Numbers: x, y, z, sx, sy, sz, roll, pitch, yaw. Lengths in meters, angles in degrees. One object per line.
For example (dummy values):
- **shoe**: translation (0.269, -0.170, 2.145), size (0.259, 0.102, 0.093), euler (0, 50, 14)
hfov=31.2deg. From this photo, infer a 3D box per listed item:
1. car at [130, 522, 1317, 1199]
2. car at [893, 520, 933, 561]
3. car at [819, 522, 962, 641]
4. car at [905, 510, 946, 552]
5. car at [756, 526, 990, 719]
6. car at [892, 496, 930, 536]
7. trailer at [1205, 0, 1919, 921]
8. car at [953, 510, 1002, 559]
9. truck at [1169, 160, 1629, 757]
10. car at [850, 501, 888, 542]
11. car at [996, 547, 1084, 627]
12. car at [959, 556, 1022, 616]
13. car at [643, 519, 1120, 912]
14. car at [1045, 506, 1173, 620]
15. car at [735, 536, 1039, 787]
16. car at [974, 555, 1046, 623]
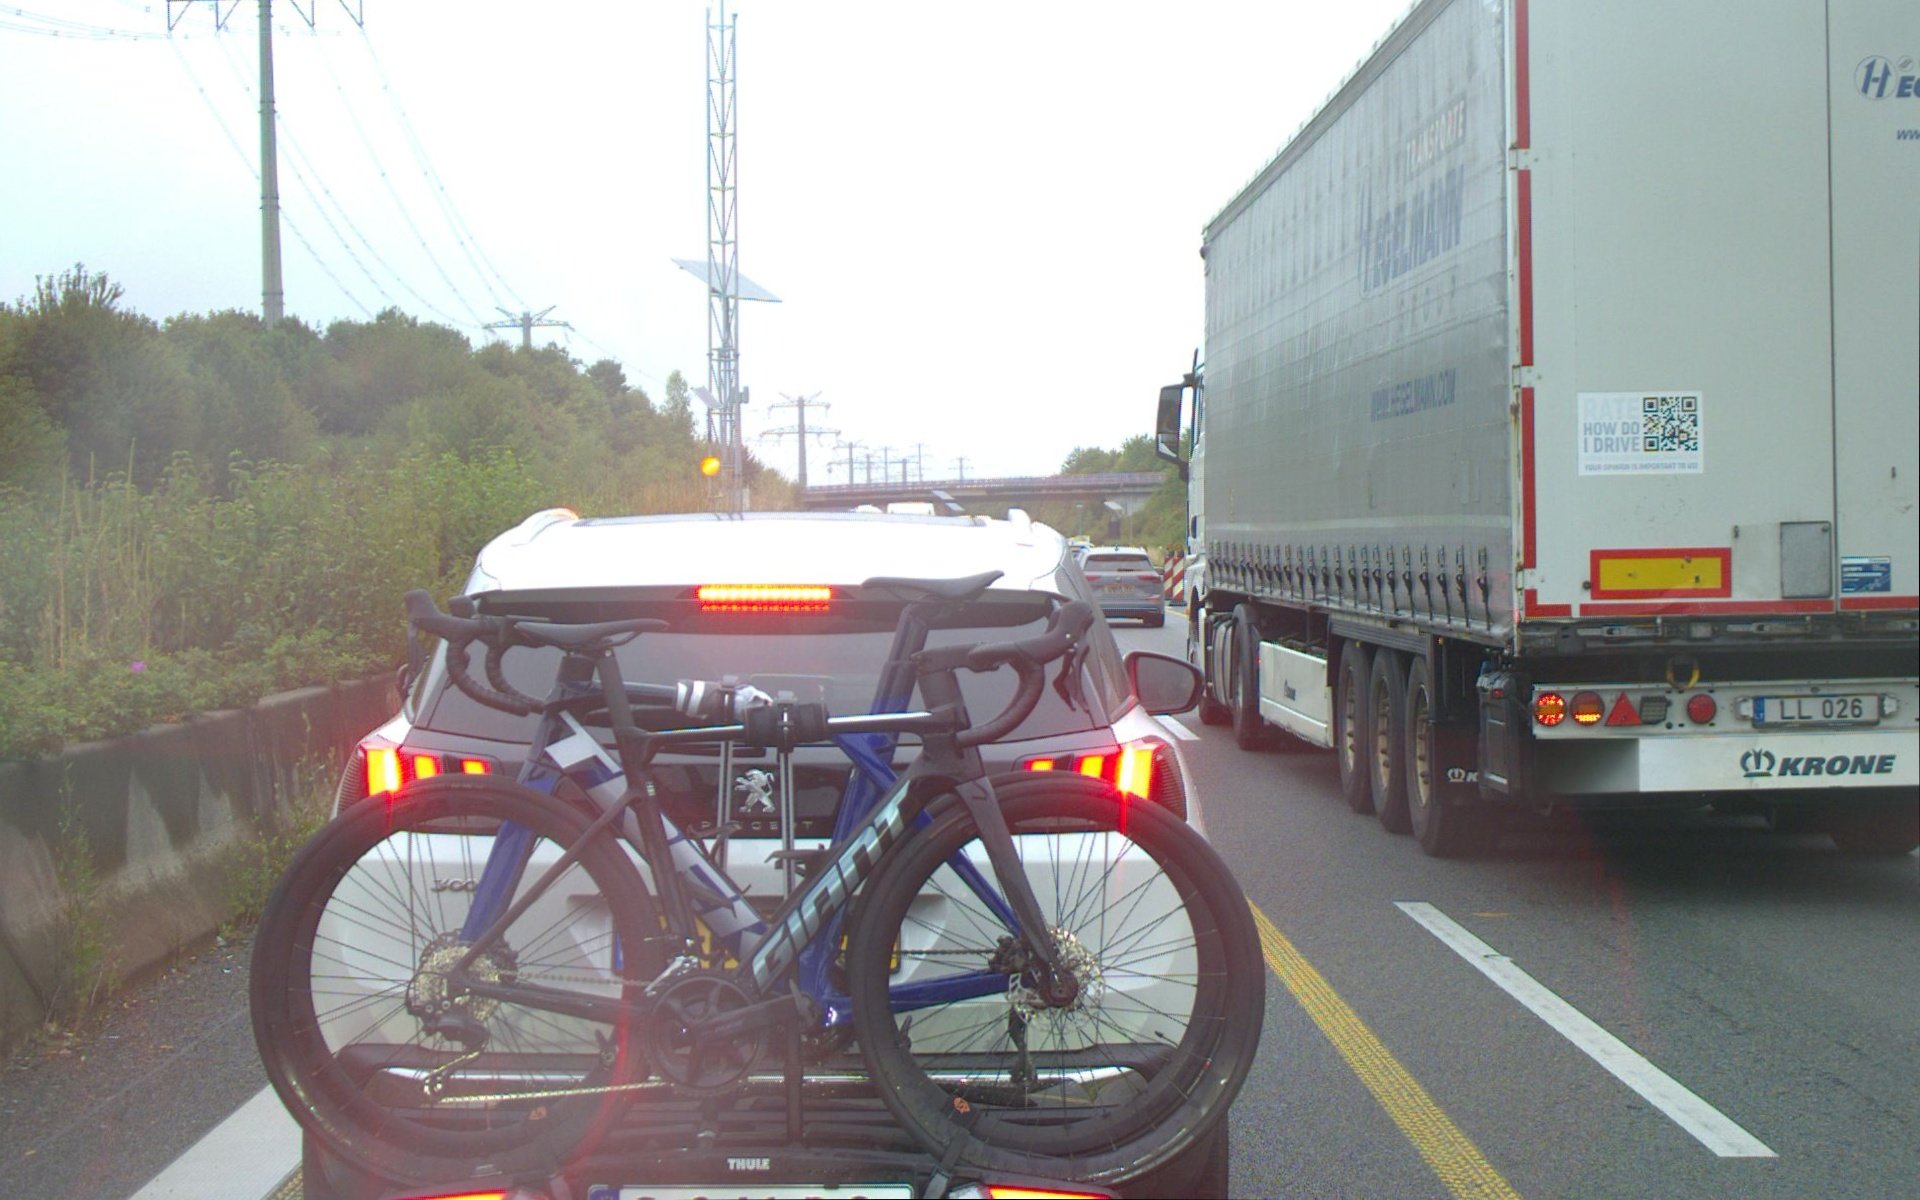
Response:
- **car**: translation (-0.395, 0.600, 7.756), size (1.850, 1.525, 4.769), euler (0, 1, -1)
- **car**: translation (-2.328, -2.945, 169.710), size (1.931, 1.966, 4.001), euler (0, 2, -1)
- **car**: translation (-0.922, -0.276, 46.537), size (1.850, 1.525, 4.000), euler (0, 1, -1)
- **car**: translation (-1.633, -3.268, 162.933), size (1.931, 1.904, 4.001), euler (0, 2, -1)
- **car**: translation (-0.713, 0.144, 29.312), size (1.850, 1.525, 4.000), euler (0, 1, -1)
- **car**: translation (-2.505, -4.277, 175.209), size (1.931, 1.966, 4.001), euler (0, 2, -1)
- **trailer**: translation (3.353, -0.903, 20.248), size (2.692, 4.062, 13.634), euler (0, 1, -1)
- **car**: translation (0.712, -2.721, 141.889), size (1.931, 1.966, 4.001), euler (0, 2, -1)
- **truck**: translation (3.192, -1.022, 26.721), size (2.660, 4.062, 6.539), euler (0, 1, -1)
- **car**: translation (-5.546, -4.811, 209.897), size (2.257, 2.416, 4.001), euler (0, 2, -1)
- **car**: translation (2.085, -0.366, 90.631), size (2.148, 1.966, 4.001), euler (0, 2, -1)
- **car**: translation (1.046, -0.500, 120.703), size (2.148, 1.966, 4.001), euler (0, 2, -1)
- **car**: translation (-0.327, 0.412, 15.357), size (1.850, 1.525, 4.000), euler (0, 1, -1)
- **car**: translation (2.676, -0.707, 62.533), size (2.110, 1.966, 4.001), euler (0, 2, -1)
- **car**: translation (-0.467, 0.339, 22.985), size (1.850, 1.525, 4.000), euler (0, 1, -1)
- **car**: translation (1.530, -0.357, 106.860), size (2.148, 1.966, 4.001), euler (0, 2, -1)
